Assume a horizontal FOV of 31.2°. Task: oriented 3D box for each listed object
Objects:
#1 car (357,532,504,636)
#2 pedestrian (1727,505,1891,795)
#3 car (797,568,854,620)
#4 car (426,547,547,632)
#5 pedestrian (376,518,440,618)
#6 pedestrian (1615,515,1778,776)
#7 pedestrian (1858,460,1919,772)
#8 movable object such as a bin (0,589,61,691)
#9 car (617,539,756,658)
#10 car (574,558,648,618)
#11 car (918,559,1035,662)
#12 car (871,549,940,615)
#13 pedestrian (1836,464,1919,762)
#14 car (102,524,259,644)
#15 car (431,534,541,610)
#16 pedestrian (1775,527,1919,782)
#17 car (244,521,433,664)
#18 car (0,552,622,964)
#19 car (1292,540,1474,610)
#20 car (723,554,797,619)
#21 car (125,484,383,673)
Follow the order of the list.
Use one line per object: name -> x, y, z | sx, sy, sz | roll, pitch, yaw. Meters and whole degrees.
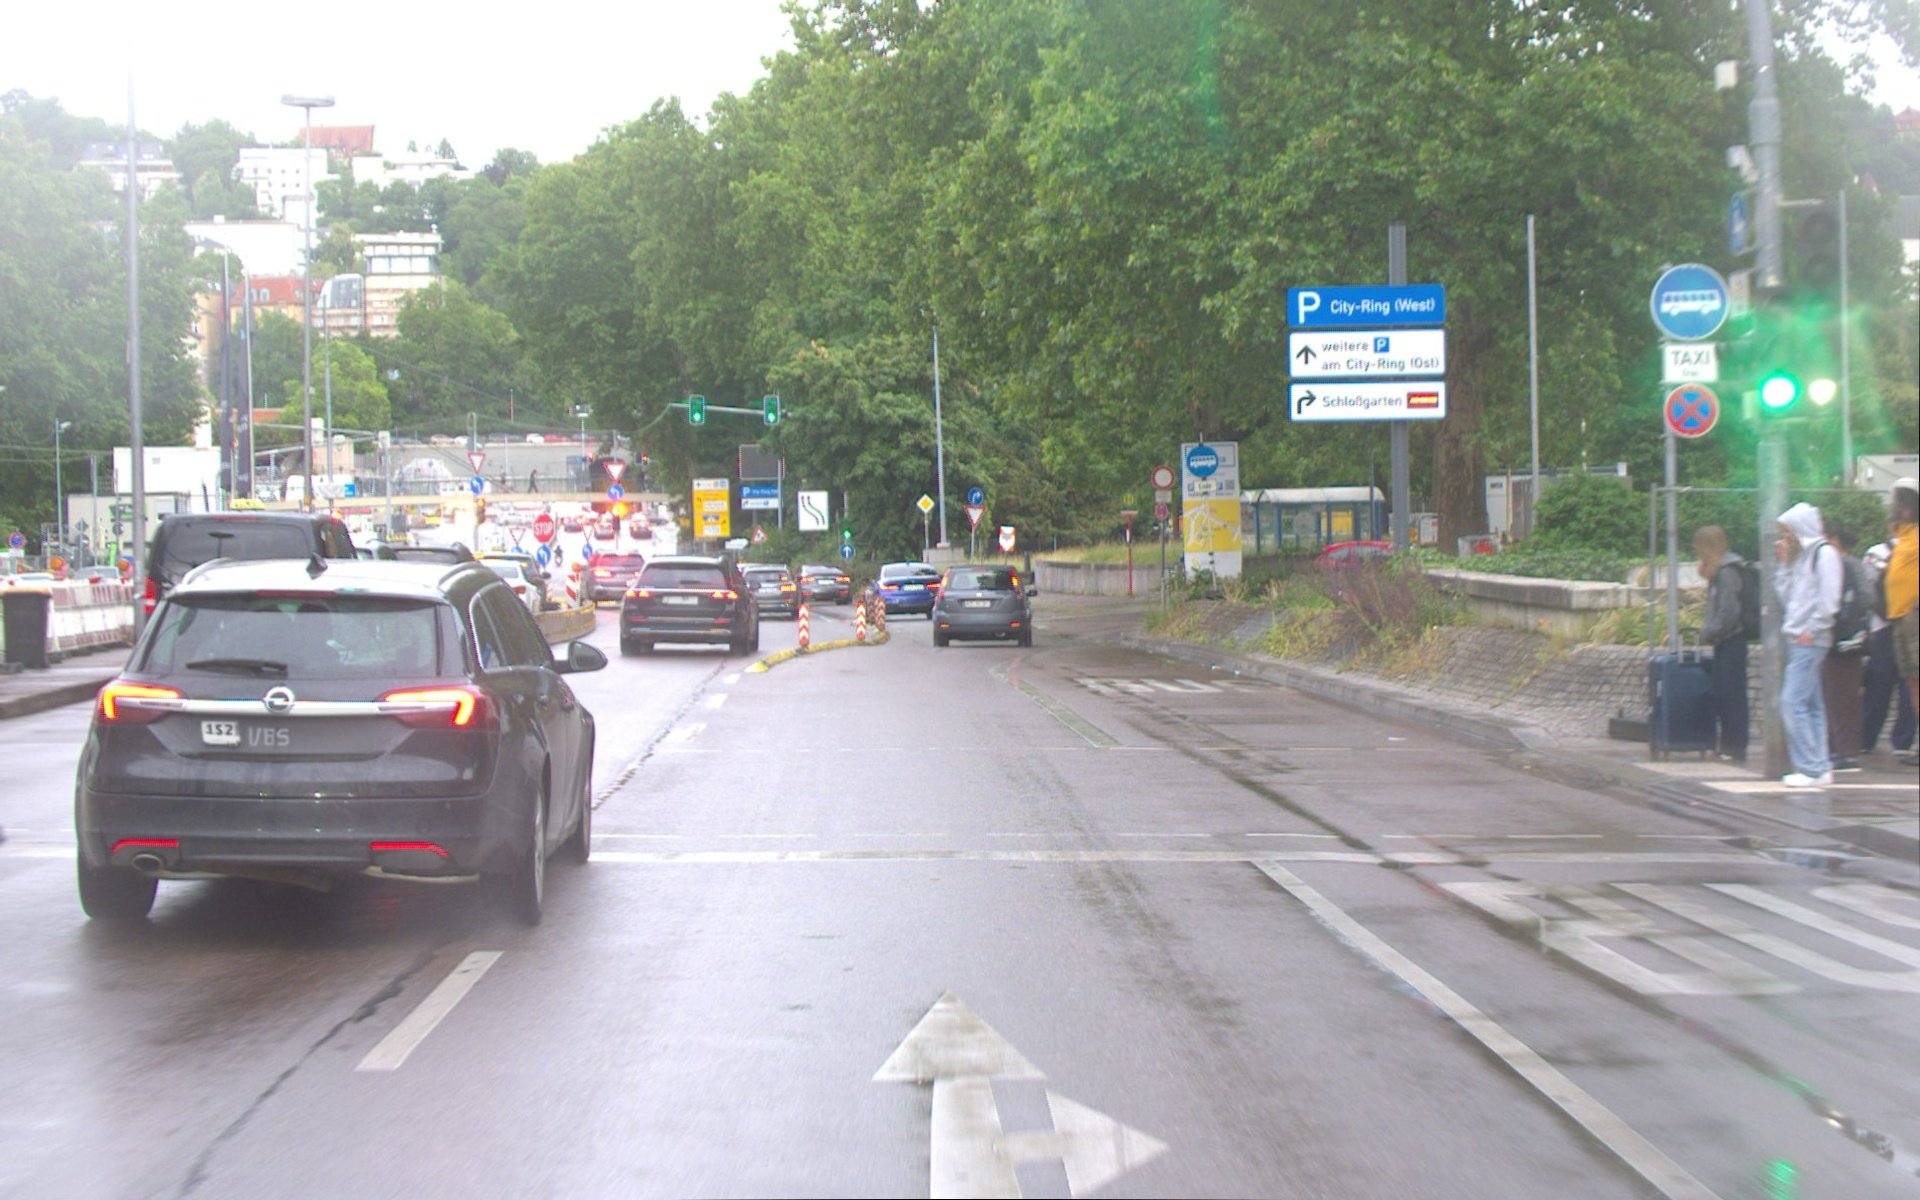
car -> -8.013, -0.236, 52.377 | 1.823, 1.506, 4.491 | 1, 0, -4
pedestrian -> 5.374, 0.306, 21.781 | 0.745, 1.798, 0.710 | -1, 0, -14
car -> -4.371, -0.201, 111.023 | 1.634, 1.619, 3.796 | 1, 0, -5
car -> -9.306, -0.206, 67.866 | 1.993, 1.562, 4.876 | -2, 0, -4
pedestrian -> -11.161, -0.649, 69.506 | 1.025, 2.007, 0.835 | 0, 1, 15
pedestrian -> 5.279, 0.316, 24.694 | 0.786, 1.832, 0.950 | -1, 0, -14
pedestrian -> 6.698, 0.107, 23.999 | 0.554, 2.138, 0.668 | -1, 0, -14
movable object such as a bin -> -10.868, 0.459, 39.977 | 0.670, 1.157, 0.767 | 2, 0, -7
car -> -4.011, -0.037, 50.987 | 1.830, 1.680, 4.134 | 0, 0, -2
car -> -10.965, -0.363, 107.750 | 1.993, 1.820, 4.001 | 1, 0, -10
car -> 0.250, 0.170, 59.555 | 1.851, 1.711, 4.000 | 1, 0, -2
car -> -1.335, -0.442, 84.894 | 1.674, 1.576, 3.239 | 1, 0, 0
pedestrian -> 6.767, 0.092, 25.043 | 0.709, 2.138, 0.721 | -1, 1, 13
car -> -13.772, -0.278, 61.004 | 1.993, 2.007, 5.370 | 1, 0, -5
car -> -10.086, -0.587, 73.332 | 1.993, 1.525, 4.153 | -2, 0, -4
pedestrian -> 6.036, 0.358, 23.195 | 0.875, 1.685, 0.758 | -1, 0, 0
car -> -7.798, -0.096, 43.519 | 1.823, 1.690, 4.774 | 1, 0, -4
car -> -2.619, 0.557, 14.979 | 1.877, 1.503, 4.852 | 0, 0, -1
car -> 9.359, -0.551, 76.186 | 3.615, 1.500, 1.730 | 1, 0, 39
car -> -5.433, -0.356, 93.909 | 1.904, 1.711, 4.000 | 1, 0, -2
car -> -7.390, -0.216, 36.438 | 1.993, 1.839, 5.063 | 1, 0, -4
